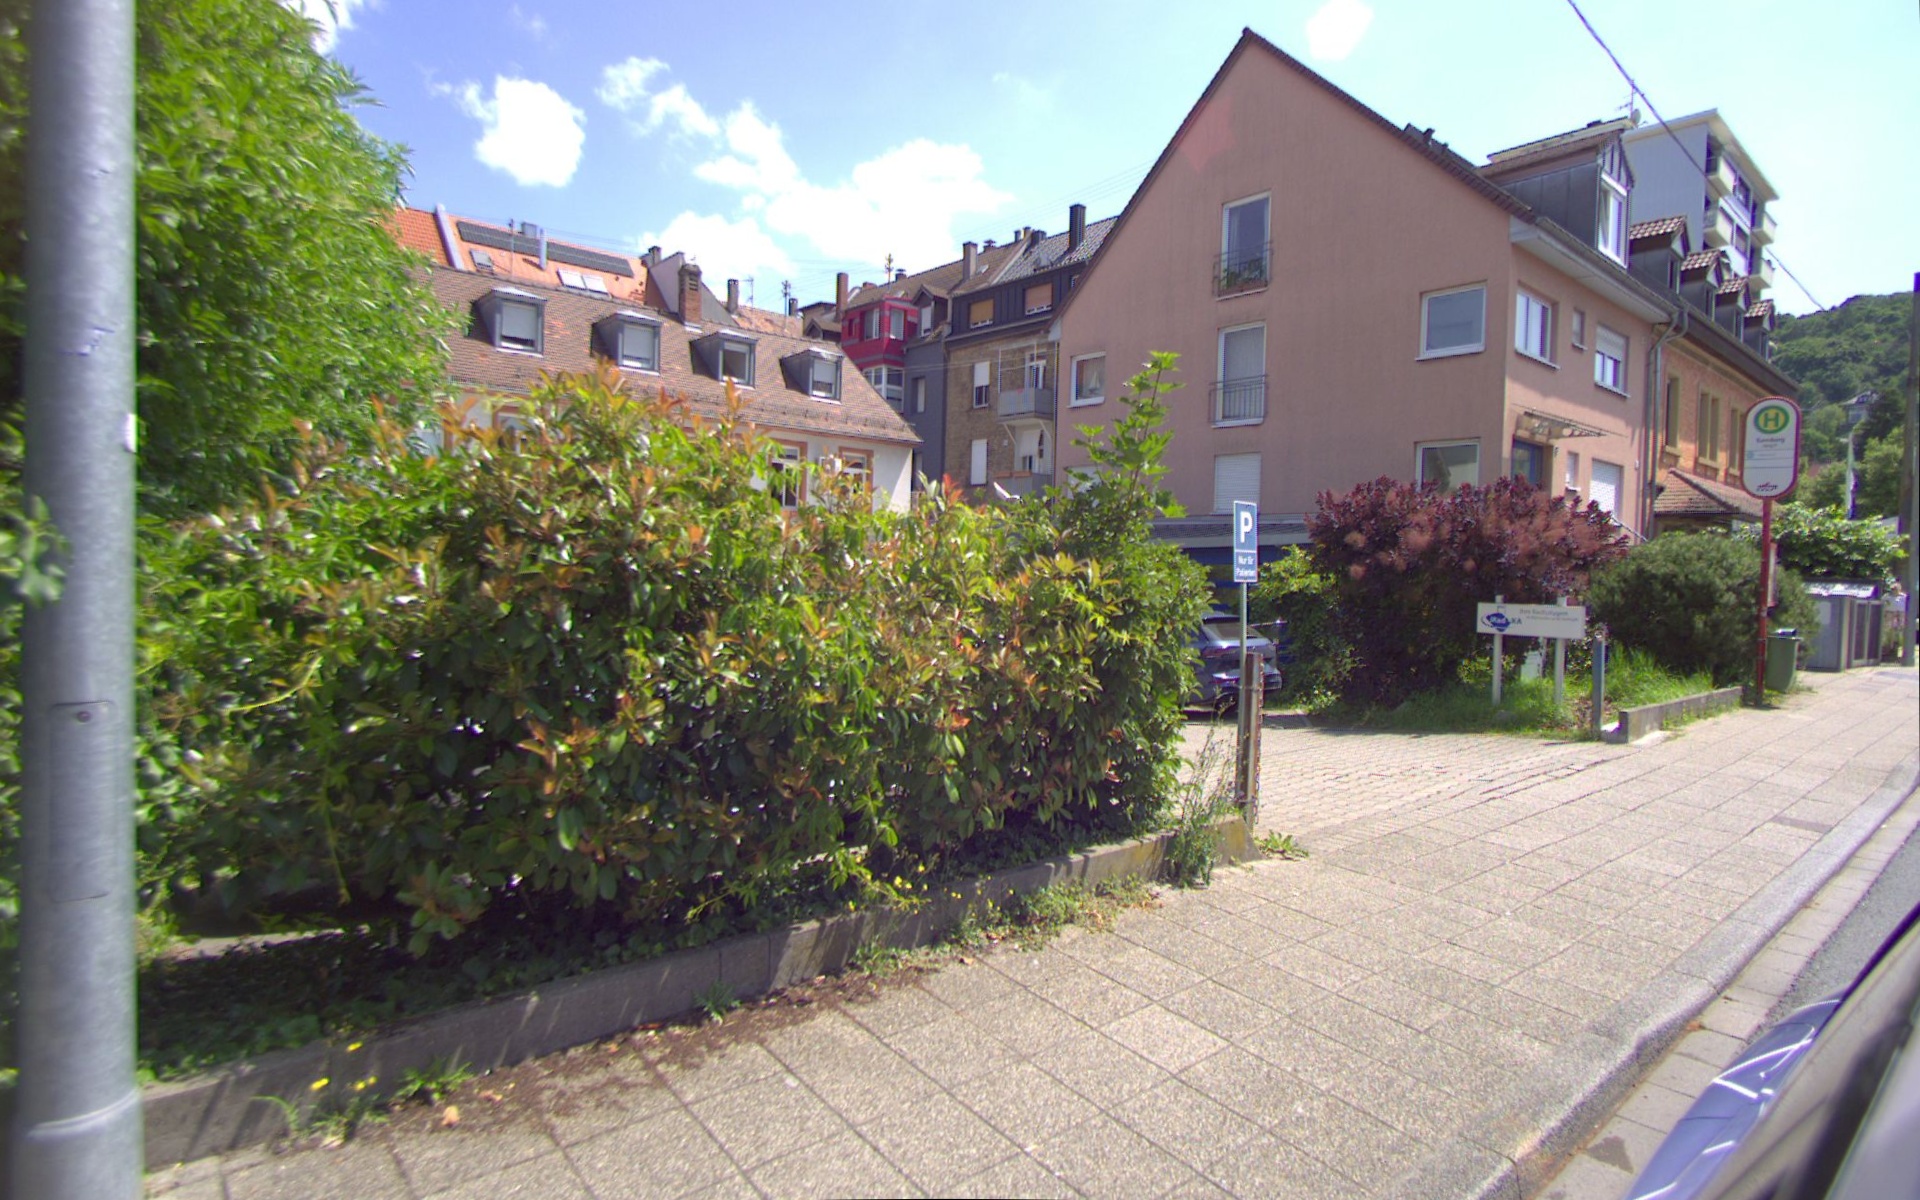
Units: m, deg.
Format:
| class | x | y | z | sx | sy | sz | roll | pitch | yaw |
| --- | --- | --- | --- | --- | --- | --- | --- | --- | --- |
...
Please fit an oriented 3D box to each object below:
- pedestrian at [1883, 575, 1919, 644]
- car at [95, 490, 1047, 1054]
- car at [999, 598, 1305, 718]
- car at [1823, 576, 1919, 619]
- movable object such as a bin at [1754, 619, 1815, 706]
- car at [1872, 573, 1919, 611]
| class | x | y | z | sx | sy | sz | roll | pitch | yaw |
| --- | --- | --- | --- | --- | --- | --- | --- | --- | --- |
| pedestrian | 23.588 | 0.228 | 25.262 | 0.704 | 1.661 | 0.650 | 4 | 2 | 40 |
| car | -1.611 | 0.487 | 4.946 | 3.932 | 1.649 | 1.762 | -2 | -2 | -42 |
| car | 2.585 | 0.856 | 14.518 | 1.691 | 1.444 | 4.140 | -1 | -4 | -39 |
| car | 37.460 | -0.114 | 40.823 | 3.867 | 1.561 | 1.818 | 2 | 3 | 37 |
| movable object such as a bin | 9.706 | 0.717 | 11.917 | 0.718 | 0.917 | 0.407 | -2 | 7 | -44 |
| car | 48.401 | -0.405 | 50.527 | 1.788 | 1.812 | 4.292 | -1 | 1 | -2 |
